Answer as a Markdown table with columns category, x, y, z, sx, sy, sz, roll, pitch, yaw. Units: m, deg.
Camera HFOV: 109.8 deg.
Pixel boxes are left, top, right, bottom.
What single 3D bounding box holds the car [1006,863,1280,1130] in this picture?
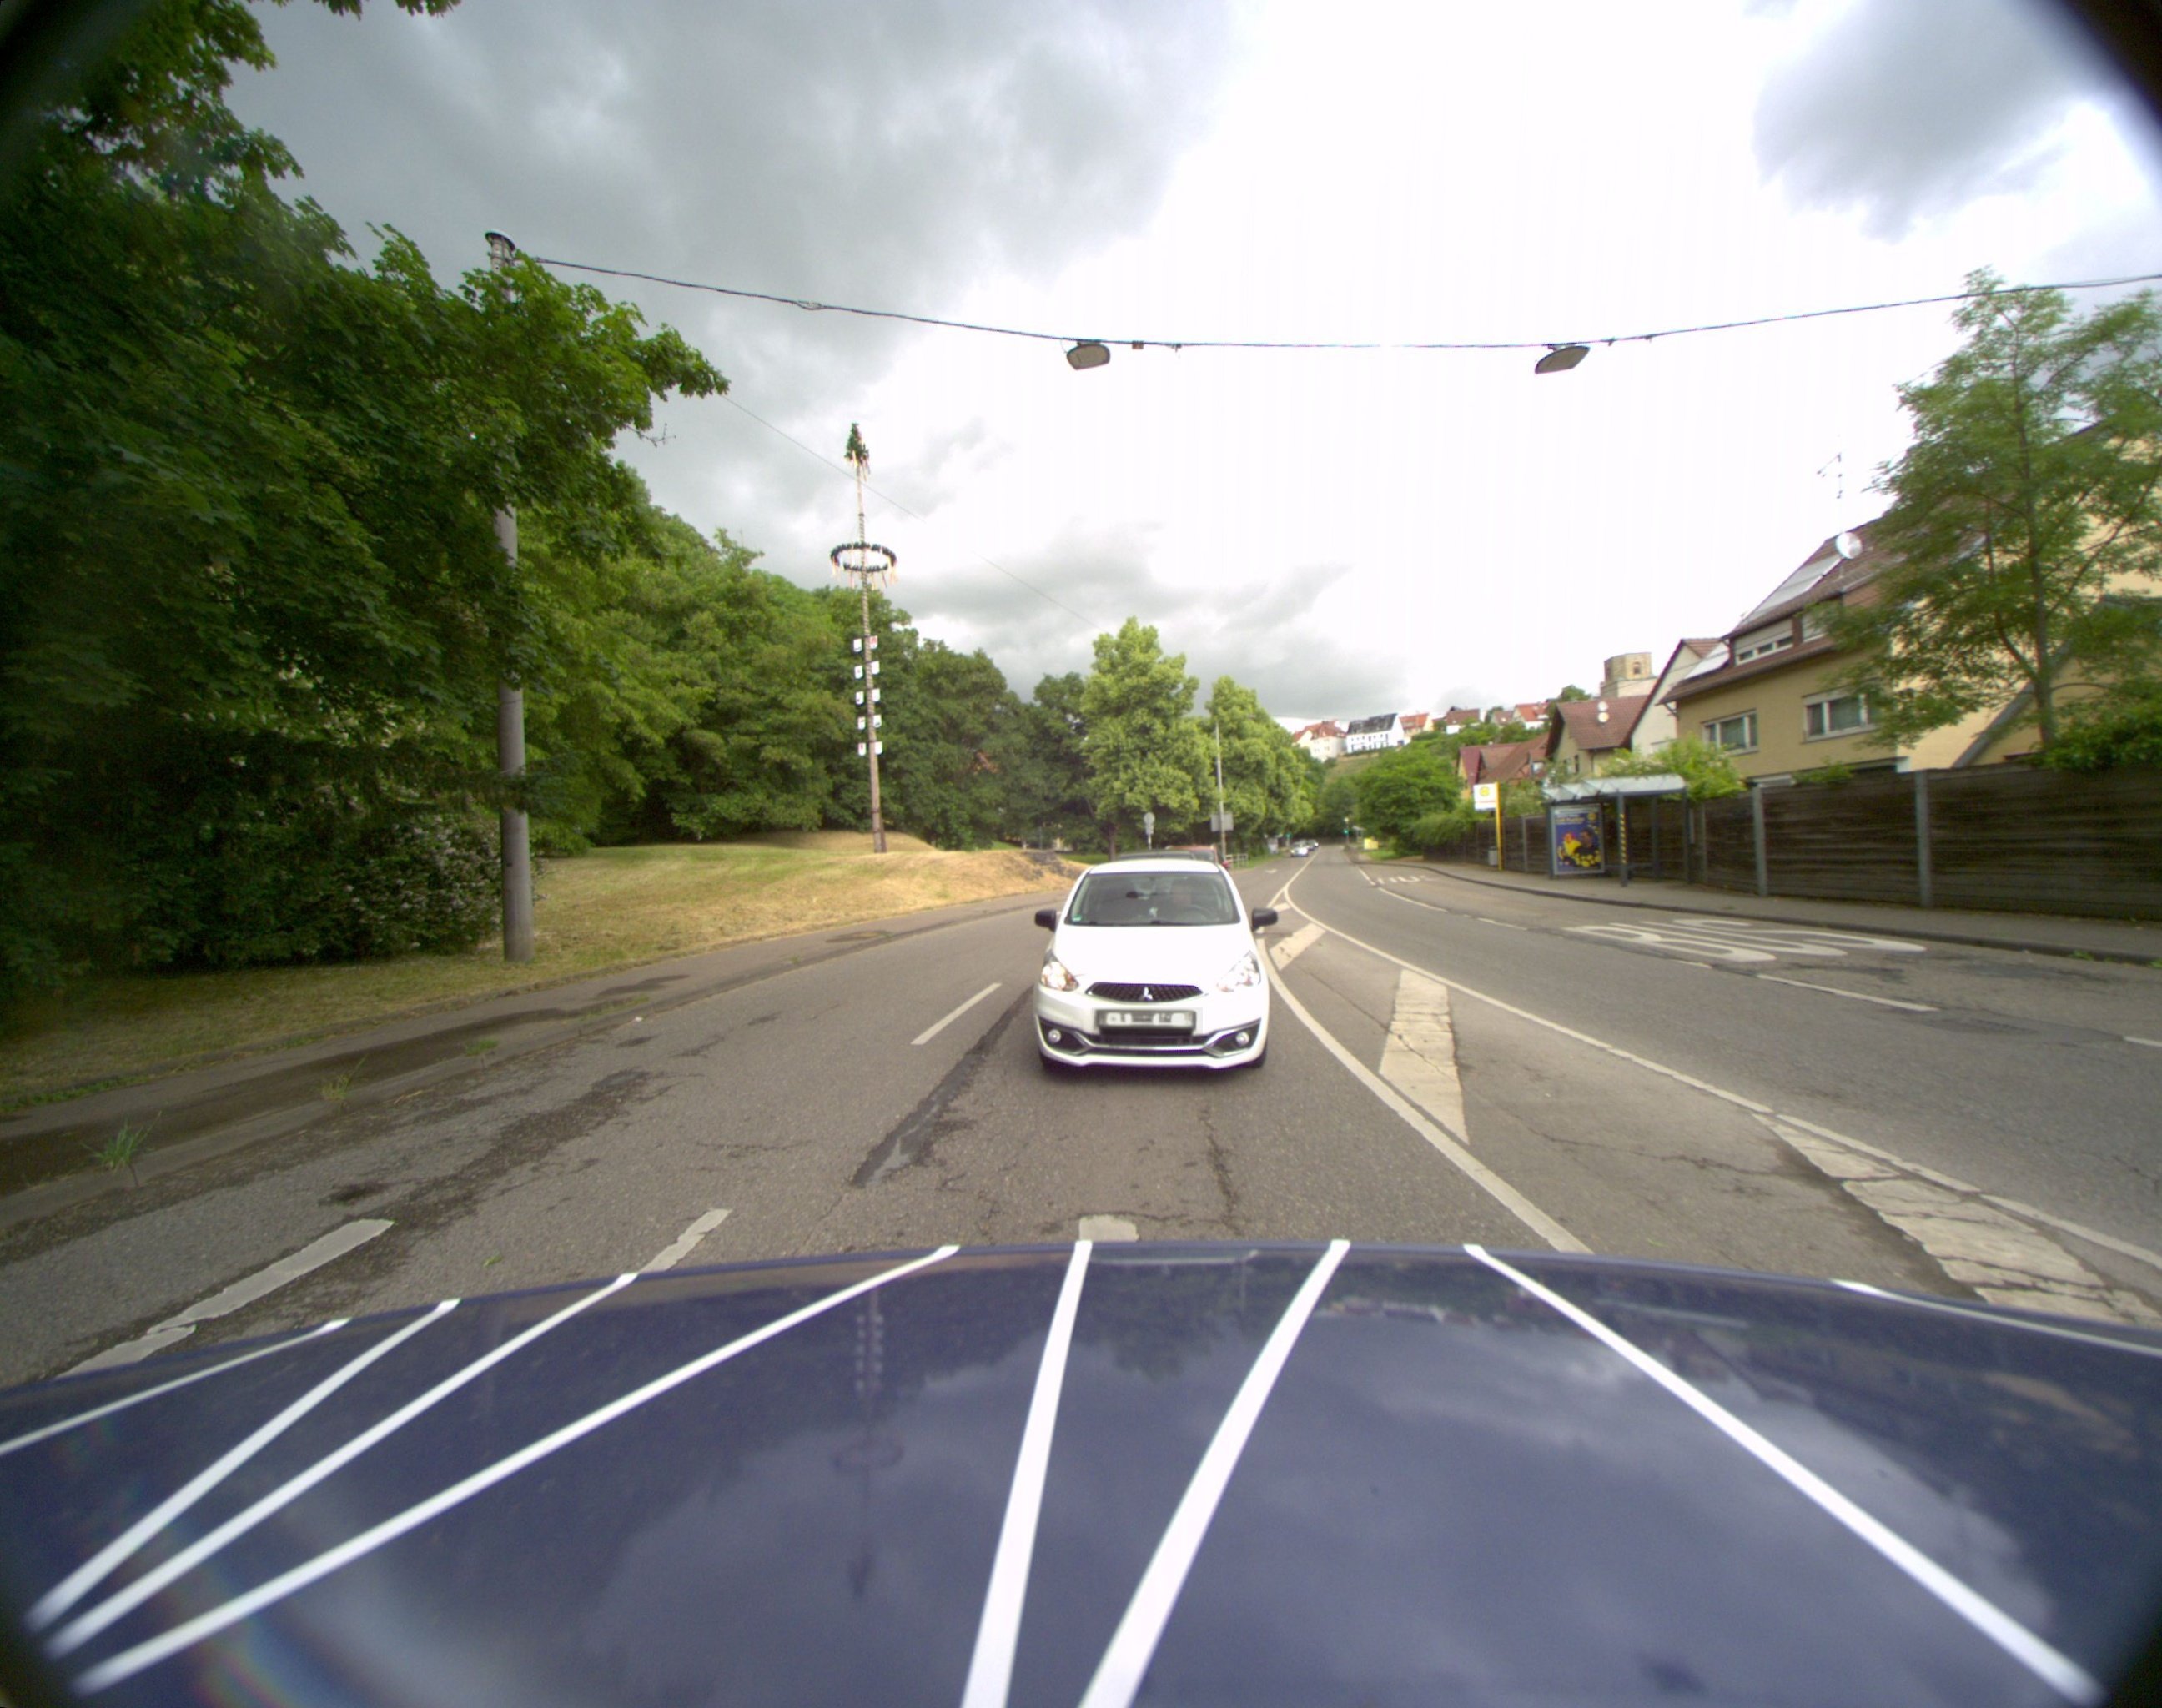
| category | x | y | z | sx | sy | sz | roll | pitch | yaw |
| --- | --- | --- | --- | --- | --- | --- | --- | --- | --- |
| car | 0.641 | 0.905 | 6.435 | 1.617 | 1.505 | 3.607 | -2 | 1 | 9 |

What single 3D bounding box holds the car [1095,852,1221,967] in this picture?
| category | x | y | z | sx | sy | sz | roll | pitch | yaw |
| --- | --- | --- | --- | --- | --- | --- | --- | --- | --- |
| car | 1.370 | 0.791 | 12.596 | 1.723 | 1.539 | 3.784 | -2 | 1 | 9 |

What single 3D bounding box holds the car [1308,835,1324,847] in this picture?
| category | x | y | z | sx | sy | sz | roll | pitch | yaw |
| --- | --- | --- | --- | --- | --- | --- | --- | --- | --- |
| car | 34.396 | -1.919 | 111.208 | 1.908 | 1.745 | 4.005 | -3 | 0 | 21 |

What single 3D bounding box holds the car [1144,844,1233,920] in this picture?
| category | x | y | z | sx | sy | sz | roll | pitch | yaw |
| --- | --- | --- | --- | --- | --- | --- | --- | --- | --- |
| car | 2.859 | 0.627 | 19.464 | 1.826 | 1.662 | 4.061 | -2 | 1 | 13 |

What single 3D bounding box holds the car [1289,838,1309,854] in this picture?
| category | x | y | z | sx | sy | sz | roll | pitch | yaw |
| --- | --- | --- | --- | --- | --- | --- | --- | --- | --- |
| car | 24.137 | -0.927 | 84.161 | 1.844 | 1.630 | 4.003 | -2 | 1 | 13 |

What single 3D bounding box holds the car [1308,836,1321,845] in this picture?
| category | x | y | z | sx | sy | sz | roll | pitch | yaw |
| --- | --- | --- | --- | --- | --- | --- | --- | --- | --- |
| car | 41.139 | -2.368 | 134.025 | 1.844 | 1.608 | 4.003 | -2 | 1 | 12 |
